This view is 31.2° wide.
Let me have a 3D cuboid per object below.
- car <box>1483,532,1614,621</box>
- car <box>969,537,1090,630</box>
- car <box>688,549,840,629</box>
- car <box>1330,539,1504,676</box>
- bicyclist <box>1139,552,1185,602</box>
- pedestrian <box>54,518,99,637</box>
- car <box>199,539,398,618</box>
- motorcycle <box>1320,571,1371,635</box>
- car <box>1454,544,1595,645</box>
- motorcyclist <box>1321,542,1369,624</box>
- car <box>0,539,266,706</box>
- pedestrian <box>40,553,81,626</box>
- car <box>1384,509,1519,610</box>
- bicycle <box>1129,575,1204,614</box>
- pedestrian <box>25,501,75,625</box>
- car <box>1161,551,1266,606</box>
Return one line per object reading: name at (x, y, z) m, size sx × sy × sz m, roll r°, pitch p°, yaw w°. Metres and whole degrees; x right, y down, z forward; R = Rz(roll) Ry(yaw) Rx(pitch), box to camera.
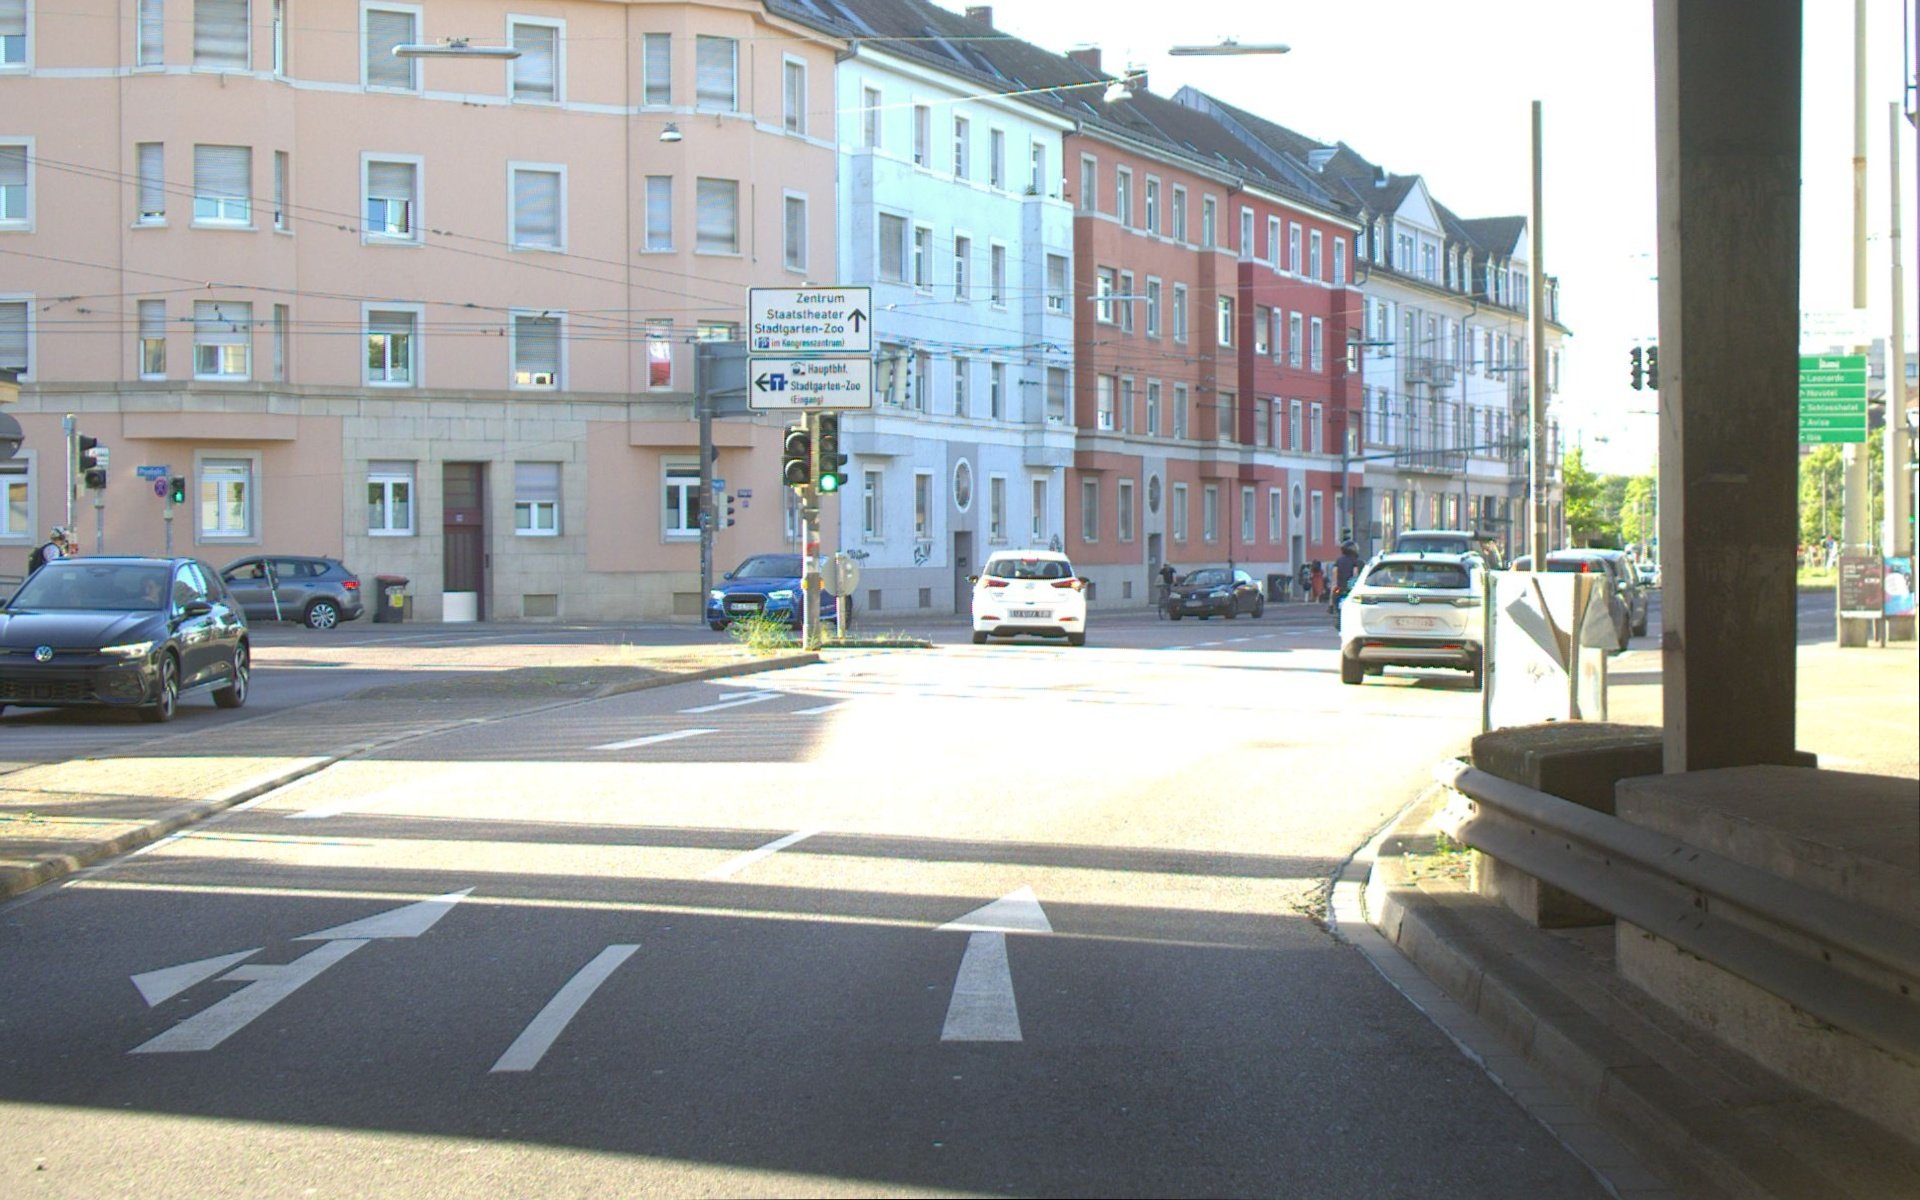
car at (10.818, -0.435, 63.038) m, size 1.816 × 1.577 × 3.997 m, roll 0°, pitch 1°, yaw 18°
car at (1.047, -0.274, 53.849) m, size 1.786 × 1.389 × 4.105 m, roll 0°, pitch 1°, yaw 0°
car at (-3.580, -0.229, 63.584) m, size 1.811 × 1.386 × 4.245 m, roll 1°, pitch 1°, yaw 11°
car at (5.461, 0.048, 41.003) m, size 1.948 × 1.523 × 4.088 m, roll 1°, pitch 1°, yaw 8°
bicyclist at (5.676, -0.652, 96.619) m, size 0.935 × 1.377 × 1.146 m, roll 1°, pitch 1°, yaw 25°
pedestrian at (-12.277, -0.316, 47.768) m, size 0.487 × 1.634 × 0.625 m, roll 0°, pitch 1°, yaw -27°
car at (-13.605, -0.446, 70.645) m, size 3.867 × 1.568 × 1.931 m, roll 0°, pitch 1°, yaw -16°
motorcycle at (6.732, 0.039, 59.938) m, size 0.777 × 1.079 × 2.280 m, roll 0°, pitch 1°, yaw 9°
car at (8.854, -0.113, 53.671) m, size 1.732 × 1.495 × 3.997 m, roll 1°, pitch 1°, yaw 16°
motorcyclist at (6.710, -0.298, 59.901) m, size 0.777 × 1.418 × 0.891 m, roll 0°, pitch 1°, yaw 9°
car at (-7.702, 0.153, 31.452) m, size 1.752 × 1.400 × 4.415 m, roll 0°, pitch 1°, yaw 1°
pedestrian at (-19.286, -0.229, 73.714) m, size 0.718 × 1.558 × 0.677 m, roll 0°, pitch 1°, yaw -2°
car at (10.145, -0.834, 70.677) m, size 2.173 × 2.002 × 4.805 m, roll 0°, pitch 1°, yaw 15°
bicycle at (5.841, -0.172, 96.961) m, size 0.935 × 1.052 × 3.349 m, roll 1°, pitch 1°, yaw 25°
pedestrian at (-12.113, -0.493, 45.769) m, size 0.513 × 1.634 × 0.625 m, roll 0°, pitch 1°, yaw -27°
car at (6.806, -0.597, 92.017) m, size 1.825 × 1.421 × 4.323 m, roll 1°, pitch 1°, yaw 18°
